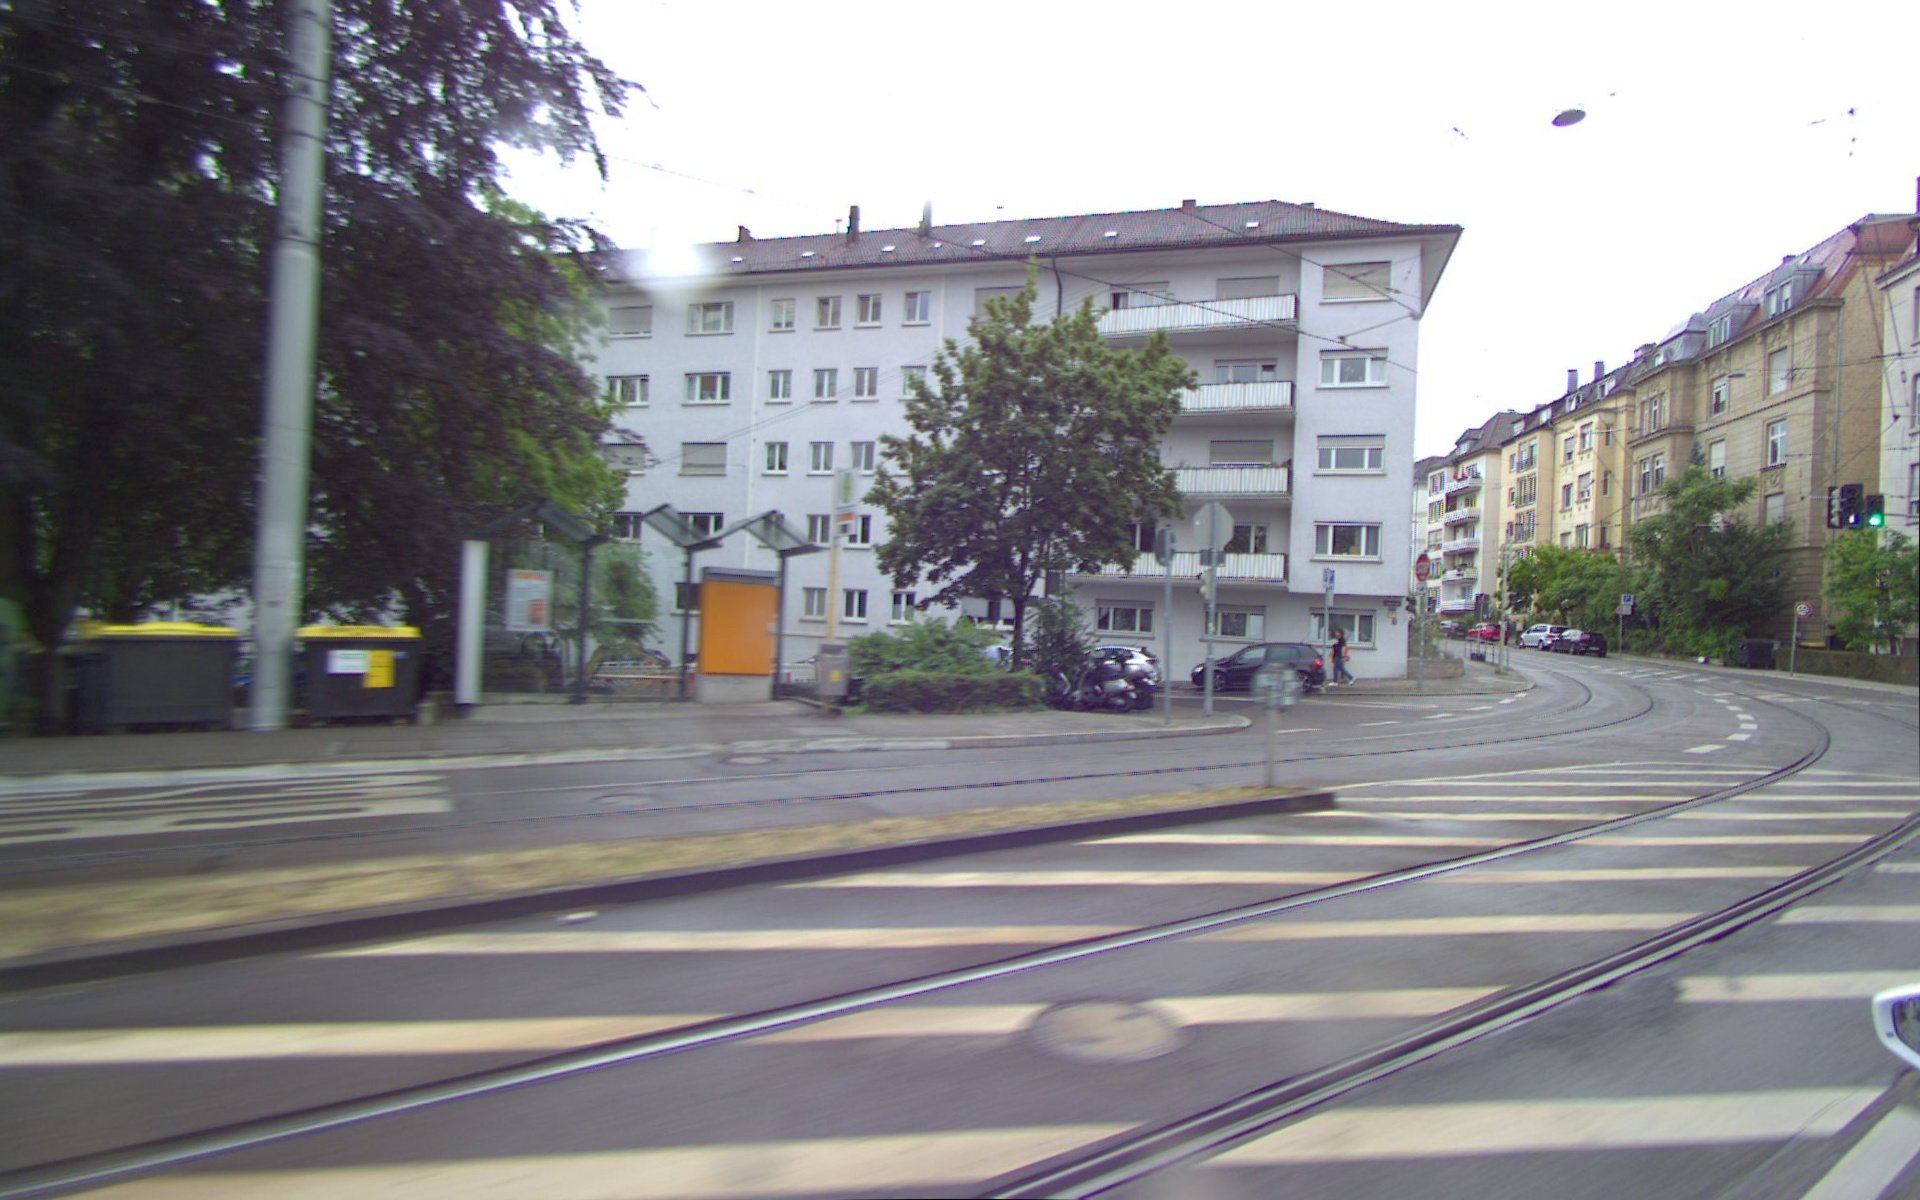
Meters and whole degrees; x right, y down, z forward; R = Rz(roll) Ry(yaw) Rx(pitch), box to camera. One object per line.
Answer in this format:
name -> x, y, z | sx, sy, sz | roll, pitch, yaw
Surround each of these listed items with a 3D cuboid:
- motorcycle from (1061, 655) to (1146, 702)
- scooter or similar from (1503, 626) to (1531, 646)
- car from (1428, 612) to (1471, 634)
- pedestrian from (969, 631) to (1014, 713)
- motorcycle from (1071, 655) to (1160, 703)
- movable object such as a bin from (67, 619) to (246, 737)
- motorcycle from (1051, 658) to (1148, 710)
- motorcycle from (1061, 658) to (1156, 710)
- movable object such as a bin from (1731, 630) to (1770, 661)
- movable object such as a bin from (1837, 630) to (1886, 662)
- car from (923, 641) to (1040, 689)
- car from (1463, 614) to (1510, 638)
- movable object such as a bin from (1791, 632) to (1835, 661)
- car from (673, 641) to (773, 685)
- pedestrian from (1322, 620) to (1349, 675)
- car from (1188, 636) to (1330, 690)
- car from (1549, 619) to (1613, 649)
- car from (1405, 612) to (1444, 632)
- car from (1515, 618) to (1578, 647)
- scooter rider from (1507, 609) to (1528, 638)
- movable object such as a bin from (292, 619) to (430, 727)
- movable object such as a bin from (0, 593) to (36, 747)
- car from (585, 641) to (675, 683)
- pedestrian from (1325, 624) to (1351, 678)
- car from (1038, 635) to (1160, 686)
motorcycle -> 3.606, 1.961, 25.217 | 2.080, 1.063, 0.485 | 1, 2, 9
scooter or similar -> 34.290, 2.183, 61.847 | 0.505, 1.063, 2.008 | 5, 1, -1
car -> 38.781, 1.799, 79.695 | 1.655, 1.456, 4.066 | 4, 1, 5
pedestrian -> 0.663, 1.510, 21.362 | 0.768, 1.706, 0.564 | 1, -2, -36
motorcycle -> 3.751, 1.903, 24.252 | 2.080, 1.063, 0.485 | 1, 2, 9
movable object such as a bin -> -8.776, 0.815, 11.053 | 1.325, 1.154, 1.017 | -1, 2, -27
motorcycle -> 3.068, 1.843, 22.136 | 2.080, 1.063, 0.485 | 1, 1, 9
motorcycle -> 3.367, 1.900, 22.807 | 2.080, 1.063, 0.485 | 1, 2, 9
movable object such as a bin -> 38.273, 2.184, 48.659 | 1.204, 1.422, 0.823 | 0, 2, 3
movable object such as a bin -> 43.041, 2.182, 47.963 | 1.209, 1.444, 1.308 | 1, 0, 11
car -> 0.753, 2.193, 34.191 | 3.674, 1.460, 1.621 | 1, -1, 14
car -> 37.718, 1.851, 72.030 | 1.692, 1.456, 3.843 | 4, 1, 8
movable object such as a bin -> 41.047, 2.213, 48.344 | 1.196, 1.326, 1.169 | 1, 0, 11
car -> -8.693, 2.287, 36.901 | 3.258, 1.460, 1.527 | 1, -1, 19
pedestrian -> 12.138, 1.527, 32.466 | 0.731, 1.723, 0.672 | 1, 2, 25
car -> 9.404, 1.943, 31.704 | 4.167, 1.474, 1.856 | 0, 2, 17
car -> 35.905, 1.930, 58.189 | 1.736, 1.409, 4.002 | 4, 2, 10
car -> 39.474, 1.866, 85.432 | 1.530, 1.456, 4.304 | 3, 1, 4
car -> 36.698, 1.994, 63.006 | 1.736, 1.625, 4.290 | 2, 0, 6
scooter rider -> 34.287, 1.435, 61.811 | 0.613, 1.728, 0.843 | 5, 2, -2
movable object such as a bin -> -7.141, 0.833, 12.065 | 1.325, 1.154, 1.017 | -1, 2, -27
movable object such as a bin -> -10.011, 0.679, 9.644 | 1.409, 1.453, 1.017 | -1, 2, -27
car -> -12.628, 2.359, 38.481 | 3.001, 1.460, 1.395 | 1, -1, 19
pedestrian -> 12.513, 1.687, 33.294 | 0.730, 1.723, 0.673 | 1, 2, 17
car -> 4.597, 1.961, 33.018 | 3.813, 1.474, 1.655 | 0, 2, 14
